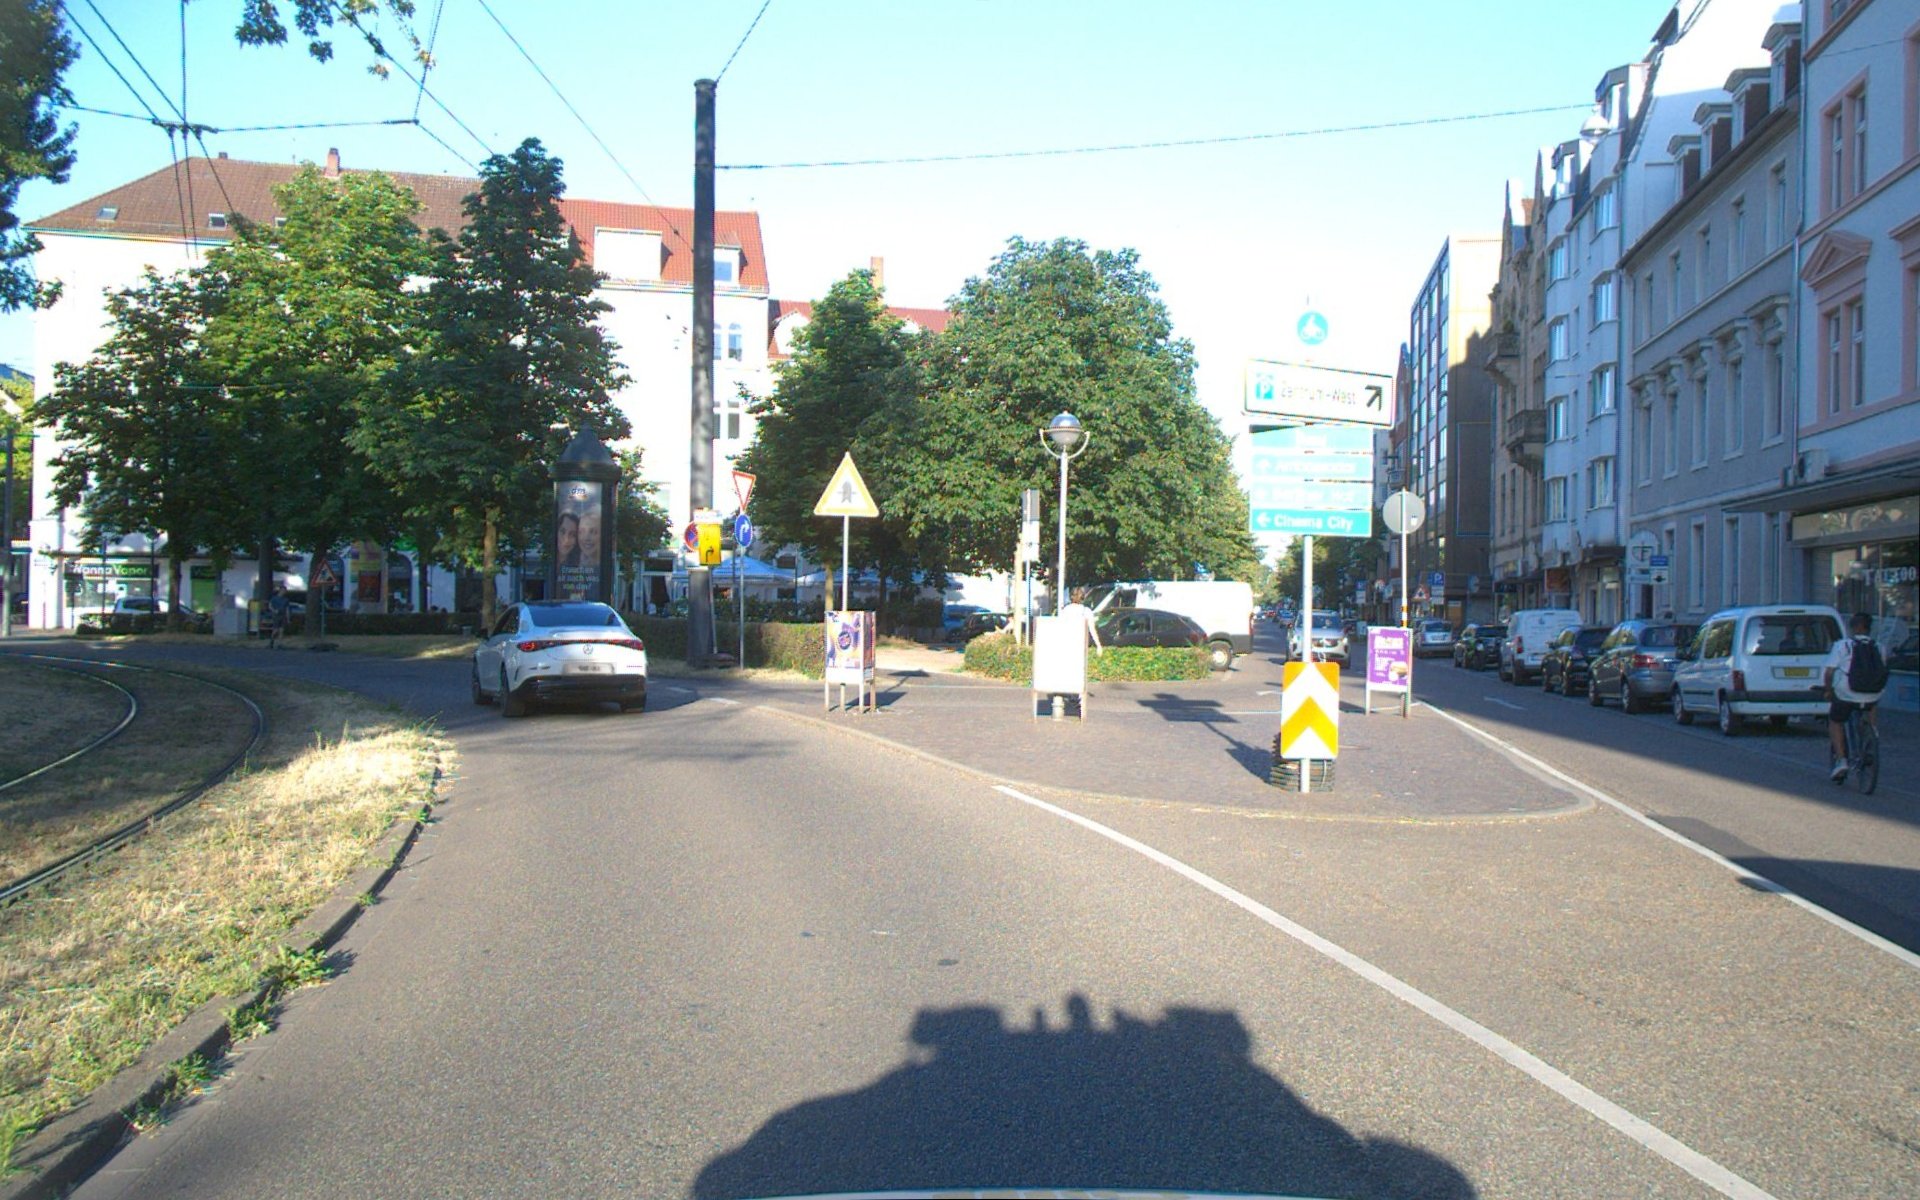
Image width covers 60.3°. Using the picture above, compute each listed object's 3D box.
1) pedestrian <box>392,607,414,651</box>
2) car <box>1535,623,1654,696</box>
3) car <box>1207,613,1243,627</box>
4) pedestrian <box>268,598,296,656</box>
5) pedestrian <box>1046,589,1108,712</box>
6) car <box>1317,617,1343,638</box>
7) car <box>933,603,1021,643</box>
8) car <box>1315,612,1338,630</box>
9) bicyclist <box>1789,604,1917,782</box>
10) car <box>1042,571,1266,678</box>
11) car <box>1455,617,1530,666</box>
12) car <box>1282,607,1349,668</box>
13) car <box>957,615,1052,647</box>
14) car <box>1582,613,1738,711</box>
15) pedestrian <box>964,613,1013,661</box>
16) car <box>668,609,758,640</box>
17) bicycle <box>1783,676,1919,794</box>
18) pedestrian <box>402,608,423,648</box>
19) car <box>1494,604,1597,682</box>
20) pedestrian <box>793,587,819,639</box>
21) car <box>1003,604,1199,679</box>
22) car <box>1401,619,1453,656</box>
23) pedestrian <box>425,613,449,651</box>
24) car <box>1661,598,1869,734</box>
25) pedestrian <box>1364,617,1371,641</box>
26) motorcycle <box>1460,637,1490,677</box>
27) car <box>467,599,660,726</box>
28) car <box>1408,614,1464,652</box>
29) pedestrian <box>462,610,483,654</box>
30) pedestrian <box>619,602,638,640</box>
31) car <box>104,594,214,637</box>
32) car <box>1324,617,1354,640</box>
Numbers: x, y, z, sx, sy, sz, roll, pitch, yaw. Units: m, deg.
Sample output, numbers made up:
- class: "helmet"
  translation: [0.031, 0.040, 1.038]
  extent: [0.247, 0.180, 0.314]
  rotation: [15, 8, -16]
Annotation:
- class: "pedestrian"
  translation: [-19.537, 1.016, 58.020]
  extent: [0.523, 1.524, 0.659]
  rotation: [1, -1, -2]
- class: "car"
  translation: [13.655, 1.245, 35.776]
  extent: [1.697, 1.488, 3.588]
  rotation: [-1, -1, 10]
- class: "car"
  translation: [27.364, 2.047, 170.670]
  extent: [3.312, 1.310, 1.671]
  rotation: [2, 0, -6]
- class: "pedestrian"
  translation: [-18.747, 0.749, 45.753]
  extent: [0.555, 1.594, 0.587]
  rotation: [2, -1, -35]
- class: "pedestrian"
  translation: [1.717, 0.725, 24.216]
  extent: [0.841, 1.736, 0.942]
  rotation: [2, -1, 4]
- class: "car"
  translation: [28.287, 2.114, 126.507]
  extent: [1.714, 1.537, 3.548]
  rotation: [-1, -1, 9]
- class: "car"
  translation: [0.797, 1.099, 79.513]
  extent: [3.918, 1.813, 1.846]
  rotation: [1, -1, -13]
- class: "car"
  translation: [32.418, 1.887, 146.300]
  extent: [1.714, 1.537, 3.548]
  rotation: [-1, -1, 9]
- class: "bicyclist"
  translation: [8.687, 0.882, 16.134]
  extent: [0.760, 1.646, 1.026]
  rotation: [2, 0, 9]
- class: "car"
  translation: [5.059, 0.656, 43.311]
  extent: [5.422, 2.640, 2.145]
  rotation: [1, -1, -17]
- class: "car"
  translation: [17.439, 1.336, 54.297]
  extent: [1.714, 1.537, 3.978]
  rotation: [-1, -1, 9]
- class: "car"
  translation: [11.303, 1.167, 52.782]
  extent: [1.951, 1.803, 4.003]
  rotation: [1, 0, 10]
- class: "car"
  translation: [1.993, 1.399, 74.361]
  extent: [3.918, 1.324, 1.846]
  rotation: [1, -1, -13]
- class: "car"
  translation: [12.487, 1.064, 29.732]
  extent: [1.697, 1.645, 3.920]
  rotation: [-1, -1, 10]
- class: "pedestrian"
  translation: [0.765, 0.987, 44.493]
  extent: [1.079, 1.248, 0.856]
  rotation: [2, 0, -16]
- class: "car"
  translation: [-11.198, 1.109, 74.949]
  extent: [3.918, 1.324, 1.846]
  rotation: [1, -1, -13]
- class: "bicycle"
  translation: [8.729, 1.293, 16.270]
  extent: [0.566, 1.004, 1.937]
  rotation: [2, 0, 10]
- class: "pedestrian"
  translation: [-19.875, 1.012, 60.053]
  extent: [0.523, 1.403, 0.659]
  rotation: [1, -1, -2]
- class: "car"
  translation: [14.831, 1.075, 42.092]
  extent: [1.884, 1.873, 4.021]
  rotation: [-1, -1, 11]
- class: "pedestrian"
  translation: [-5.912, 0.488, 63.596]
  extent: [0.914, 1.957, 0.857]
  rotation: [1, -1, -3]
- class: "car"
  translation: [3.115, 0.917, 36.651]
  extent: [3.933, 1.579, 1.865]
  rotation: [1, -1, -23]
- class: "car"
  translation: [20.213, 1.616, 71.706]
  extent: [1.714, 1.537, 3.548]
  rotation: [-1, -1, 9]
- class: "pedestrian"
  translation: [-19.345, 1.190, 61.199]
  extent: [0.653, 1.376, 0.659]
  rotation: [1, -1, -2]
- class: "car"
  translation: [11.747, 0.921, 24.395]
  extent: [1.697, 1.831, 3.920]
  rotation: [-1, -1, 10]
- class: "pedestrian"
  translation: [34.159, 2.424, 138.618]
  extent: [0.519, 1.957, 0.542]
  rotation: [1, -1, 8]
- class: "motorcycle"
  translation: [15.952, 1.756, 51.246]
  extent: [0.476, 1.195, 1.608]
  rotation: [-1, 0, 3]
- class: "car"
  translation: [-5.417, 0.751, 22.224]
  extent: [1.840, 1.466, 4.166]
  rotation: [-1, 1, -23]
- class: "car"
  translation: [19.470, 1.342, 67.765]
  extent: [1.714, 1.537, 3.548]
  rotation: [-1, -1, 9]
- class: "pedestrian"
  translation: [-17.062, 1.119, 57.895]
  extent: [0.523, 1.524, 0.659]
  rotation: [1, -1, -2]
- class: "pedestrian"
  translation: [-17.125, 1.084, 85.478]
  extent: [0.841, 1.899, 0.932]
  rotation: [1, -1, -16]
- class: "car"
  translation: [-31.484, 0.620, 65.097]
  extent: [3.550, 1.579, 1.657]
  rotation: [1, -1, -13]
- class: "car"
  translation: [26.148, 1.981, 114.180]
  extent: [1.714, 1.537, 3.548]
  rotation: [-1, -1, 9]
